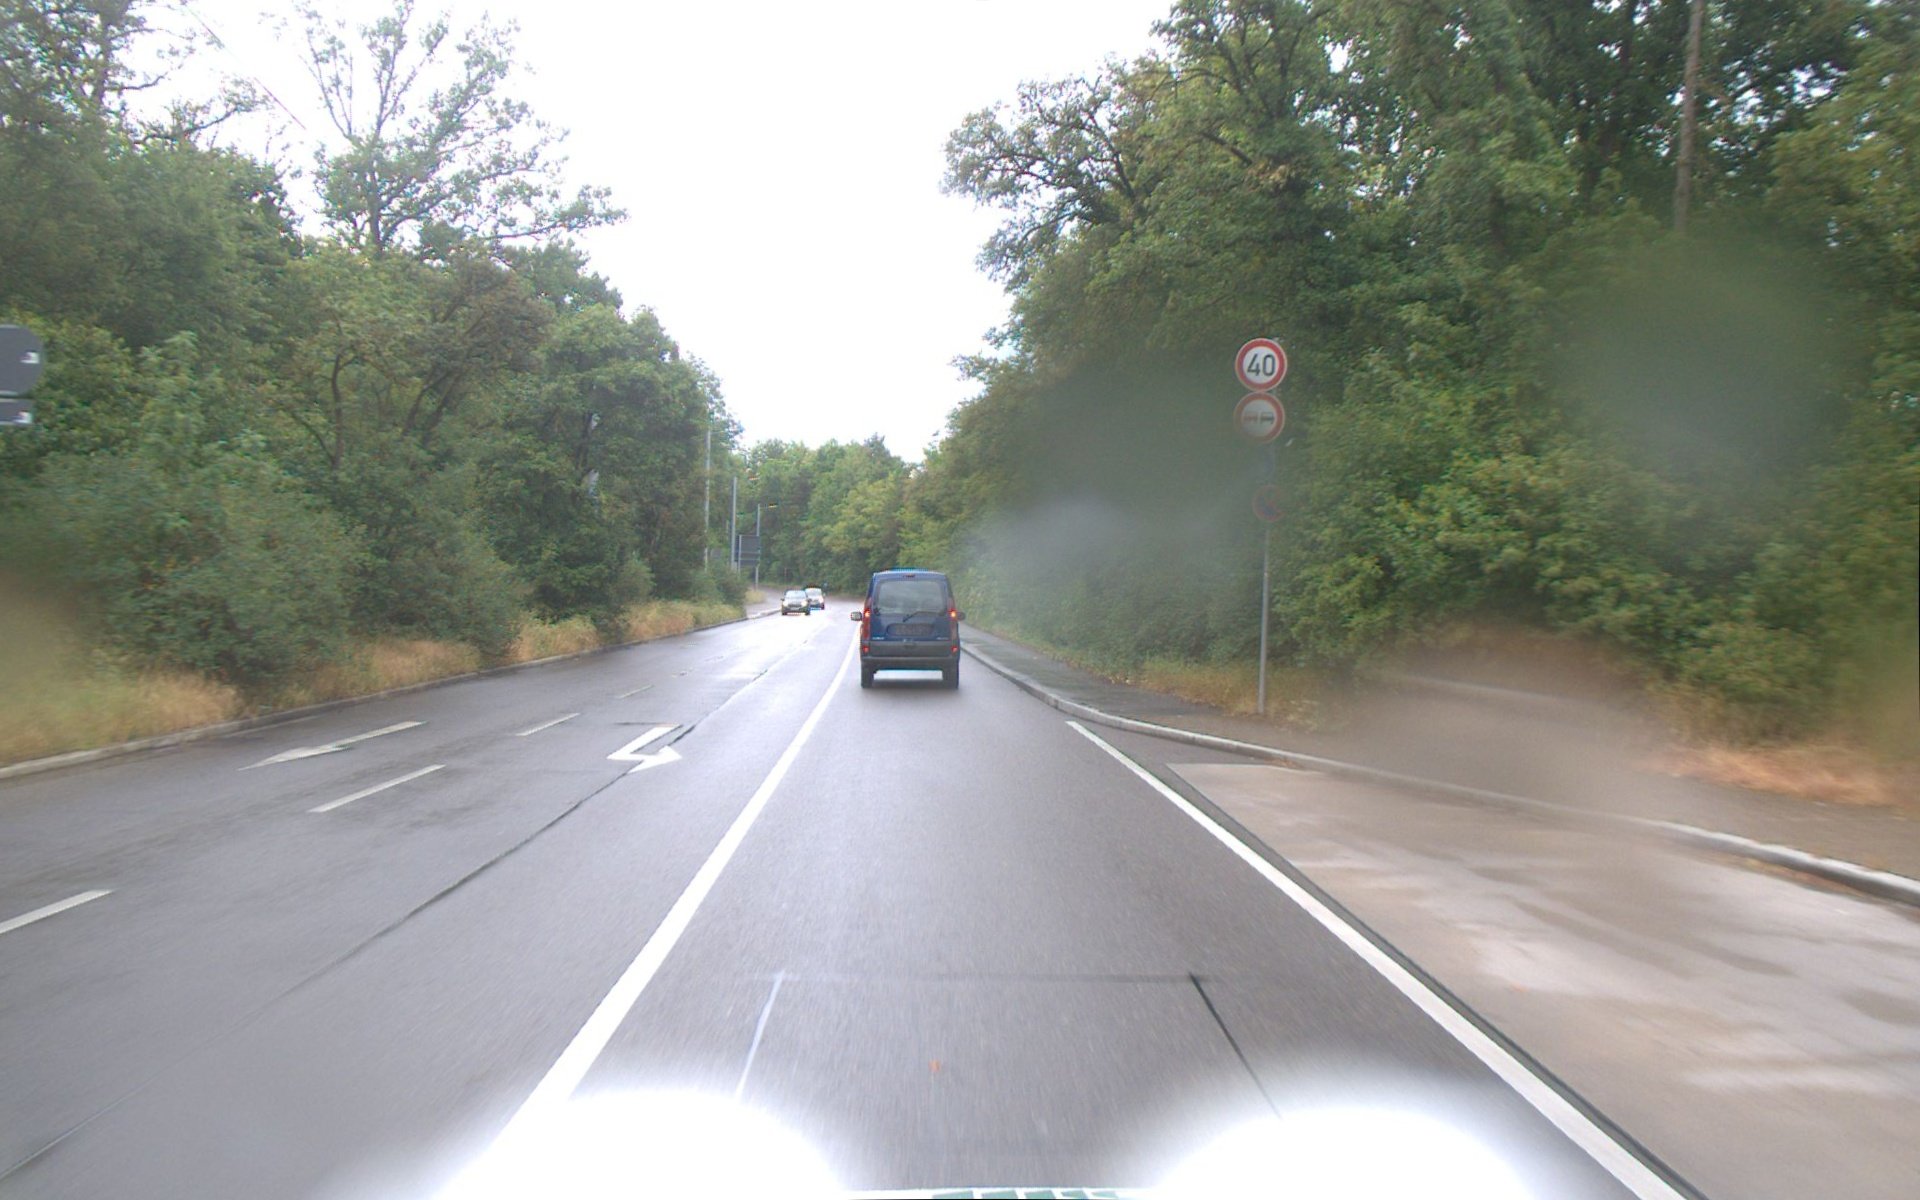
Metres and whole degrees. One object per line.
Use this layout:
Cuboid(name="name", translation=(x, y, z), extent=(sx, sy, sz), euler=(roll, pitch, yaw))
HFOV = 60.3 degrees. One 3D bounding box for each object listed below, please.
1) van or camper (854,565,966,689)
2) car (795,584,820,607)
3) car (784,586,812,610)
Cuboid(name="van or camper", translation=(-0.867, 0.392, 27.758), extent=(1.678, 1.857, 3.998), euler=(-2, 1, -3))
Cuboid(name="car", translation=(-11.617, -0.358, 126.123), extent=(1.736, 1.638, 4.081), euler=(1, 0, -3))
Cuboid(name="car", translation=(-10.015, -0.149, 102.435), extent=(1.567, 1.466, 3.988), euler=(0, 0, -4))
